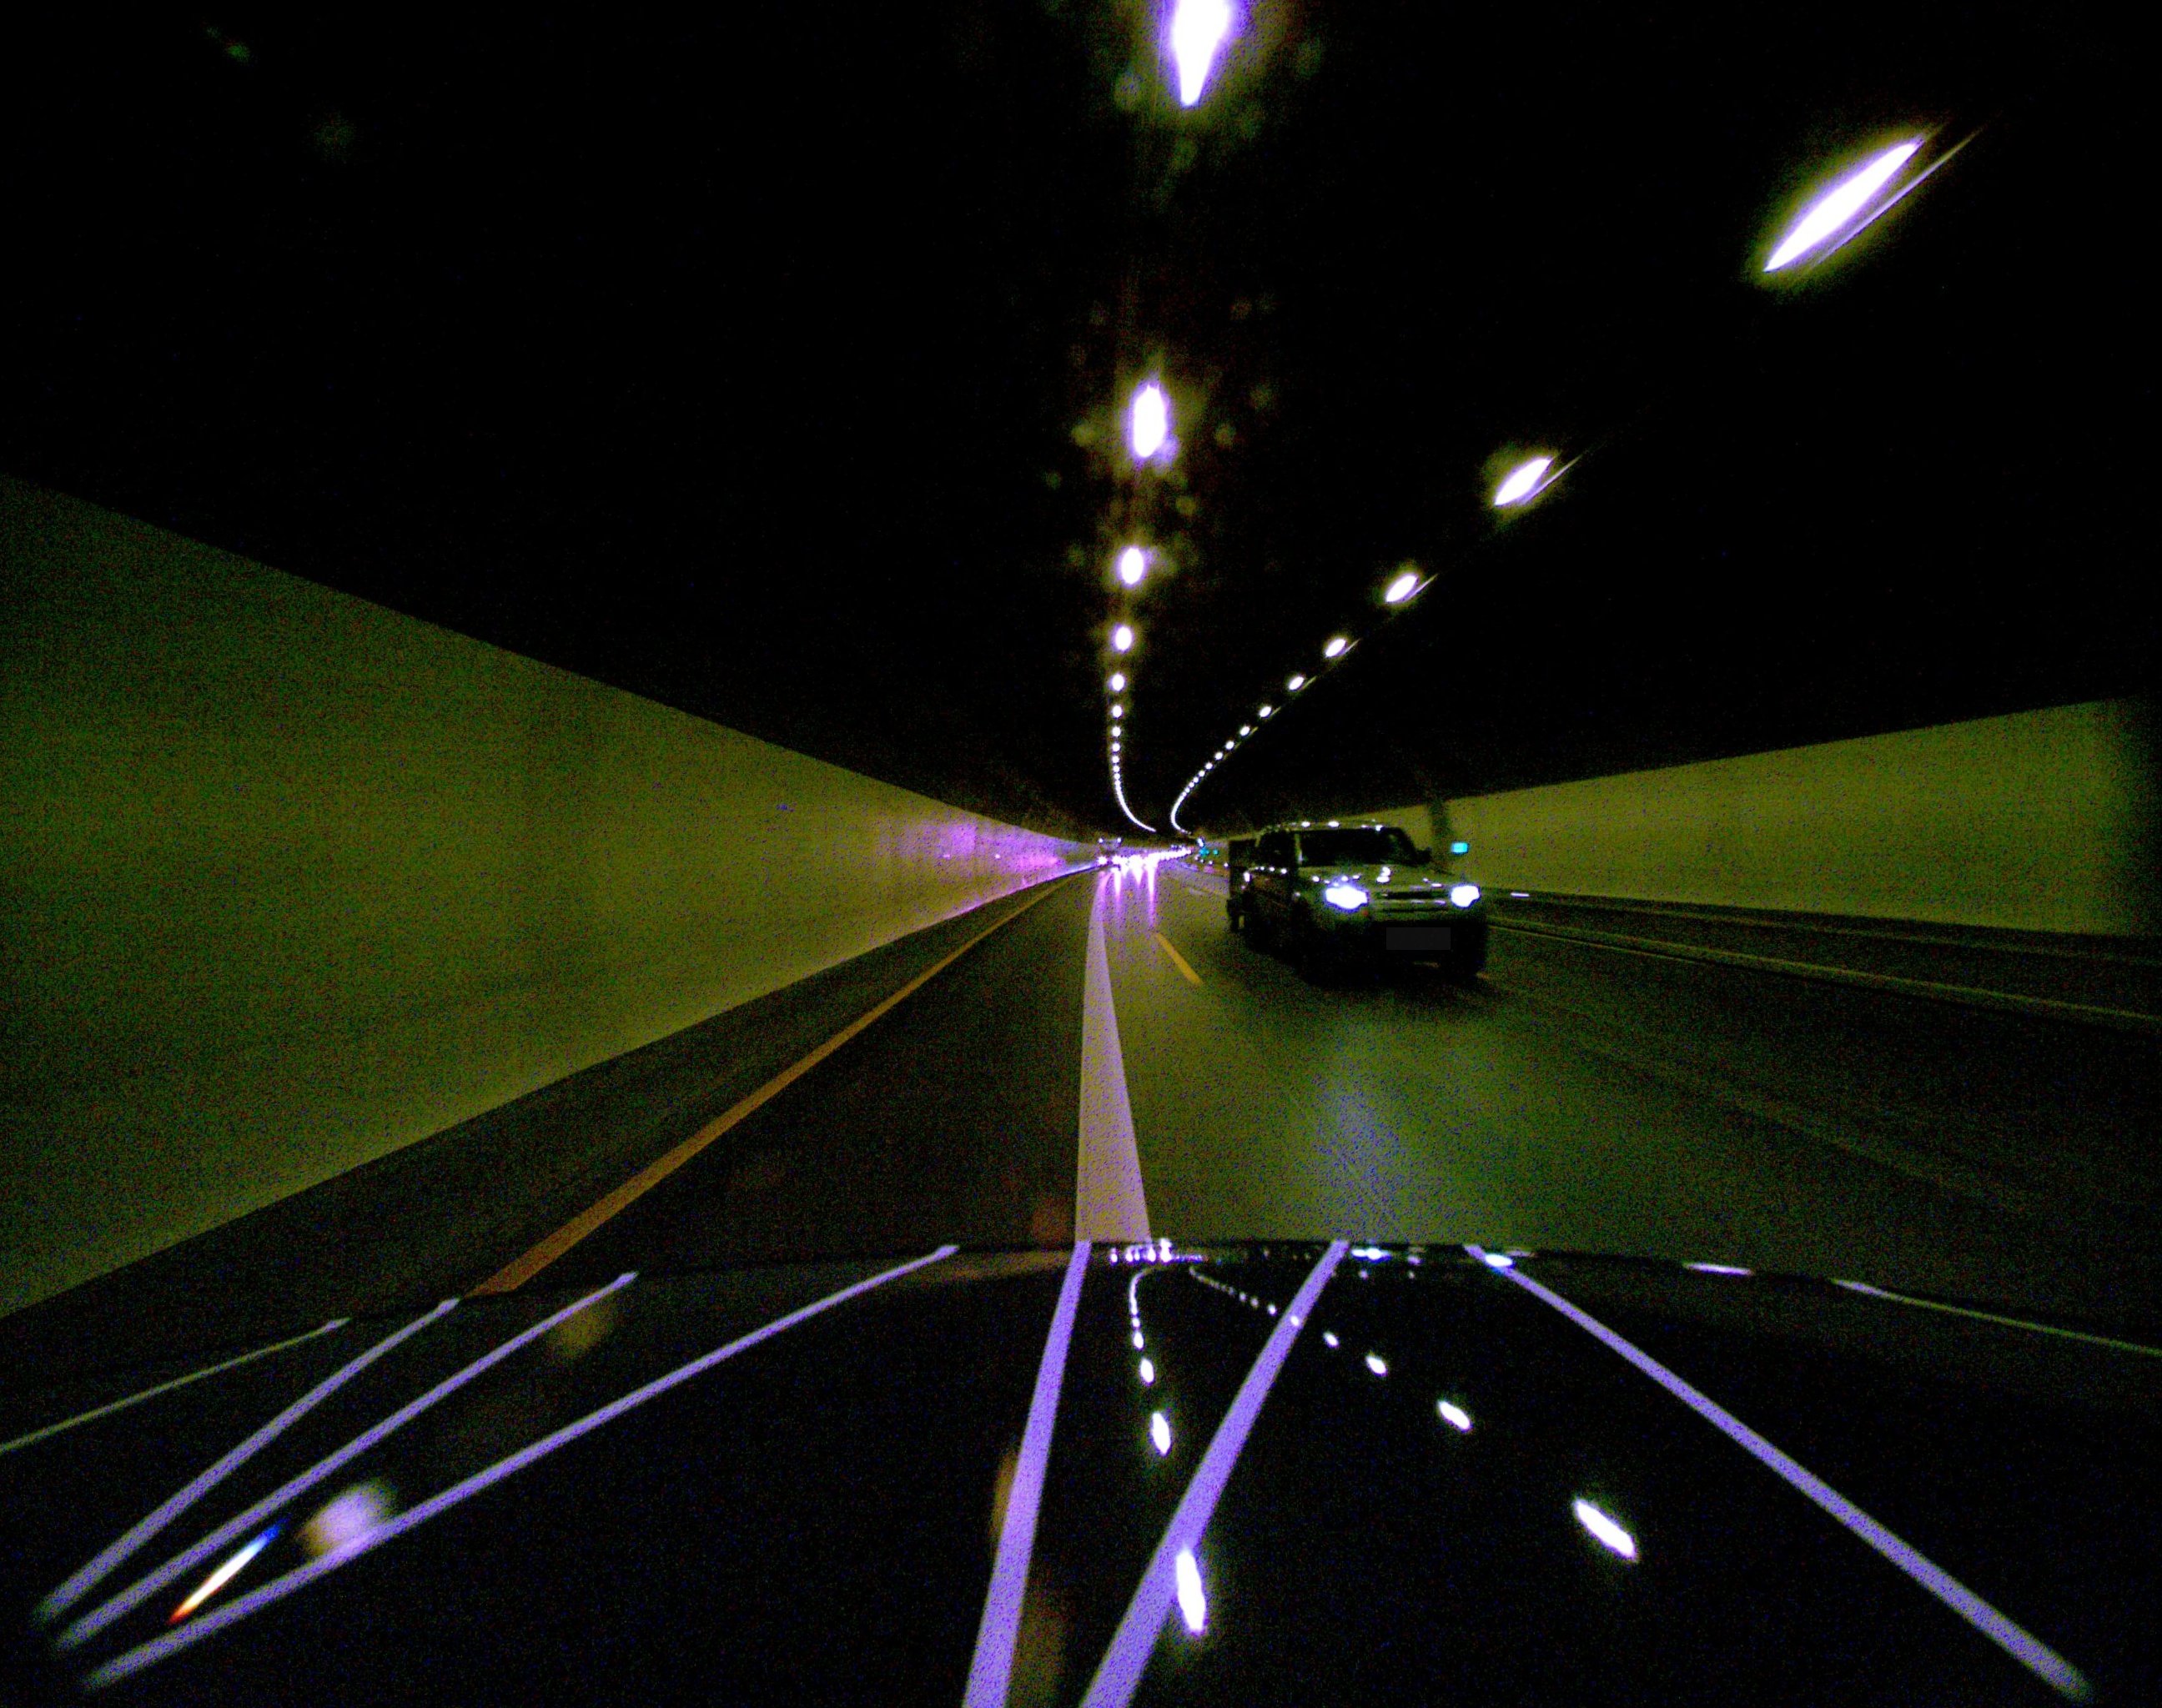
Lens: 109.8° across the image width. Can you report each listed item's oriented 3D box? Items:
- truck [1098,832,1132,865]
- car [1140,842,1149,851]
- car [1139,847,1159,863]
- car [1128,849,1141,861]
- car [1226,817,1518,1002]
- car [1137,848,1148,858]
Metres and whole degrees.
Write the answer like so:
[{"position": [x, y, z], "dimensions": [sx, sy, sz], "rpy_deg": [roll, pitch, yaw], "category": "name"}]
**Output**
[{"position": [3.699, -0.546, 80.262], "dimensions": [2.988, 3.161, 10.511], "rpy_deg": [-1, 0, 5], "category": "truck"}, {"position": [14.745, -1.665, 176.171], "dimensions": [1.998, 1.917, 4.386], "rpy_deg": [-2, 0, 5], "category": "car"}, {"position": [7.558, 0.092, 84.809], "dimensions": [2.171, 1.709, 4.483], "rpy_deg": [-2, 0, 5], "category": "car"}, {"position": [9.122, 0.198, 128.960], "dimensions": [1.998, 2.002, 4.001], "rpy_deg": [-2, 0, 5], "category": "car"}, {"position": [3.503, 0.554, 10.517], "dimensions": [1.998, 1.884, 5.453], "rpy_deg": [0, 0, 1], "category": "car"}, {"position": [12.818, -0.124, 157.705], "dimensions": [1.997, 2.002, 4.002], "rpy_deg": [-1, 0, 8], "category": "car"}]
